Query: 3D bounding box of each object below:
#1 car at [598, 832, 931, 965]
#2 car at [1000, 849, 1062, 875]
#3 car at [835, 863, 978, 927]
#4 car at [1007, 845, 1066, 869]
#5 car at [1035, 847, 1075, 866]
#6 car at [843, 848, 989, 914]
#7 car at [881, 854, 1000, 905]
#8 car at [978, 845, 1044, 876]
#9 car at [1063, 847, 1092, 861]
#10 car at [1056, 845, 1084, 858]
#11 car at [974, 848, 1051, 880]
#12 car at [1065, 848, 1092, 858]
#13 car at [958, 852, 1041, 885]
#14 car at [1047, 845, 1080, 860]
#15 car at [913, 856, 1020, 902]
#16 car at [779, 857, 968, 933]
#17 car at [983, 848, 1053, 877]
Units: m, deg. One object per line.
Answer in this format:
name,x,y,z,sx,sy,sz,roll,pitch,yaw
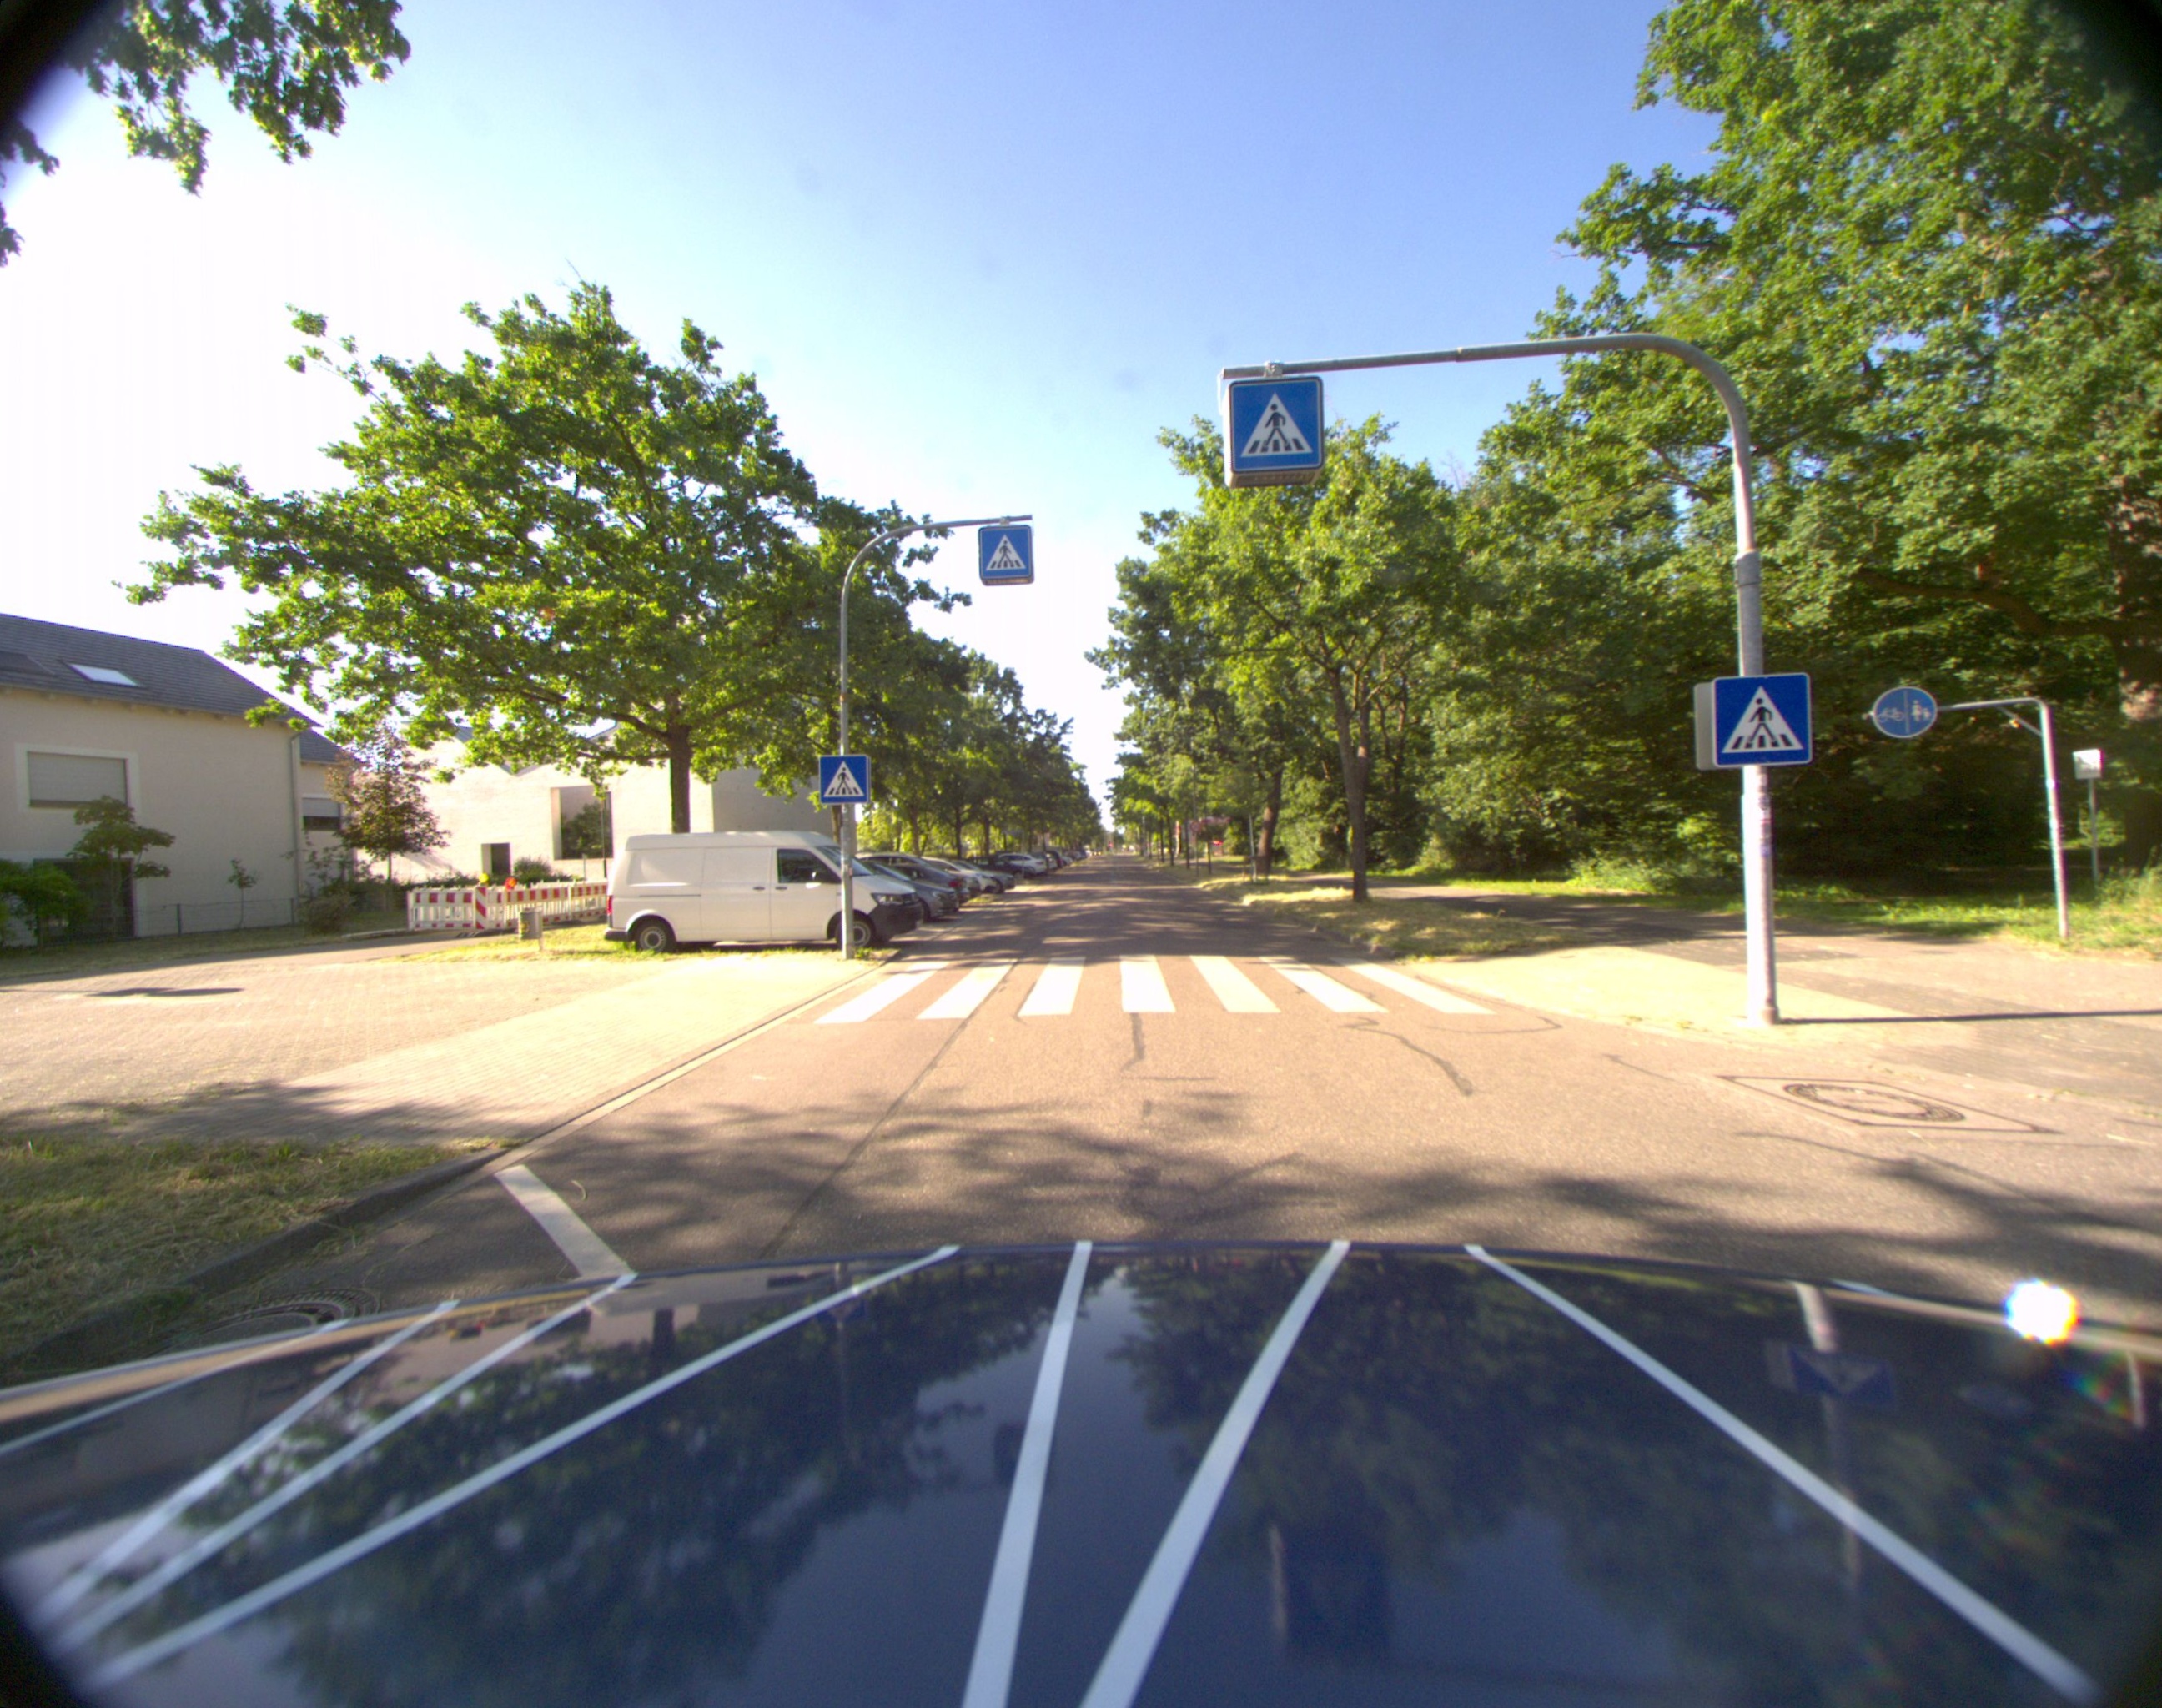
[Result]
car,-5.407,0.728,13.451,5.045,2.069,1.891,-1,1,2
car,-3.766,0.573,57.624,4.394,1.733,1.533,-3,1,4
car,-4.781,1.109,21.087,3.515,1.533,1.448,-3,1,4
car,-3.468,0.224,60.084,4.394,1.733,1.533,-3,1,4
car,-2.710,0.240,80.260,3.996,1.838,1.863,-3,1,3
car,-5.057,0.813,23.646,4.018,1.783,1.713,-3,1,4
car,-5.177,0.920,28.250,4.018,1.669,1.533,-3,1,4
car,-4.909,0.428,53.812,4.394,1.977,1.533,-3,1,4
car,-0.485,-0.021,112.443,4.151,1.838,1.949,-3,1,3
car,-1.747,-0.336,117.542,4.151,1.838,1.949,-3,1,3
car,-4.138,0.600,46.360,4.394,1.733,1.533,-3,1,4
car,-0.410,-0.109,122.474,4.151,1.401,1.800,-3,1,3
car,-4.611,0.823,43.307,4.394,1.632,1.533,-3,1,4
car,-2.348,-0.206,101.213,4.151,1.838,1.949,-3,1,3
car,-4.648,1.012,31.230,4.018,1.650,1.533,-3,1,4
car,-4.964,0.966,18.532,3.996,1.554,1.758,-3,1,4
car,-4.175,0.560,50.602,4.394,1.733,1.533,-3,1,4
